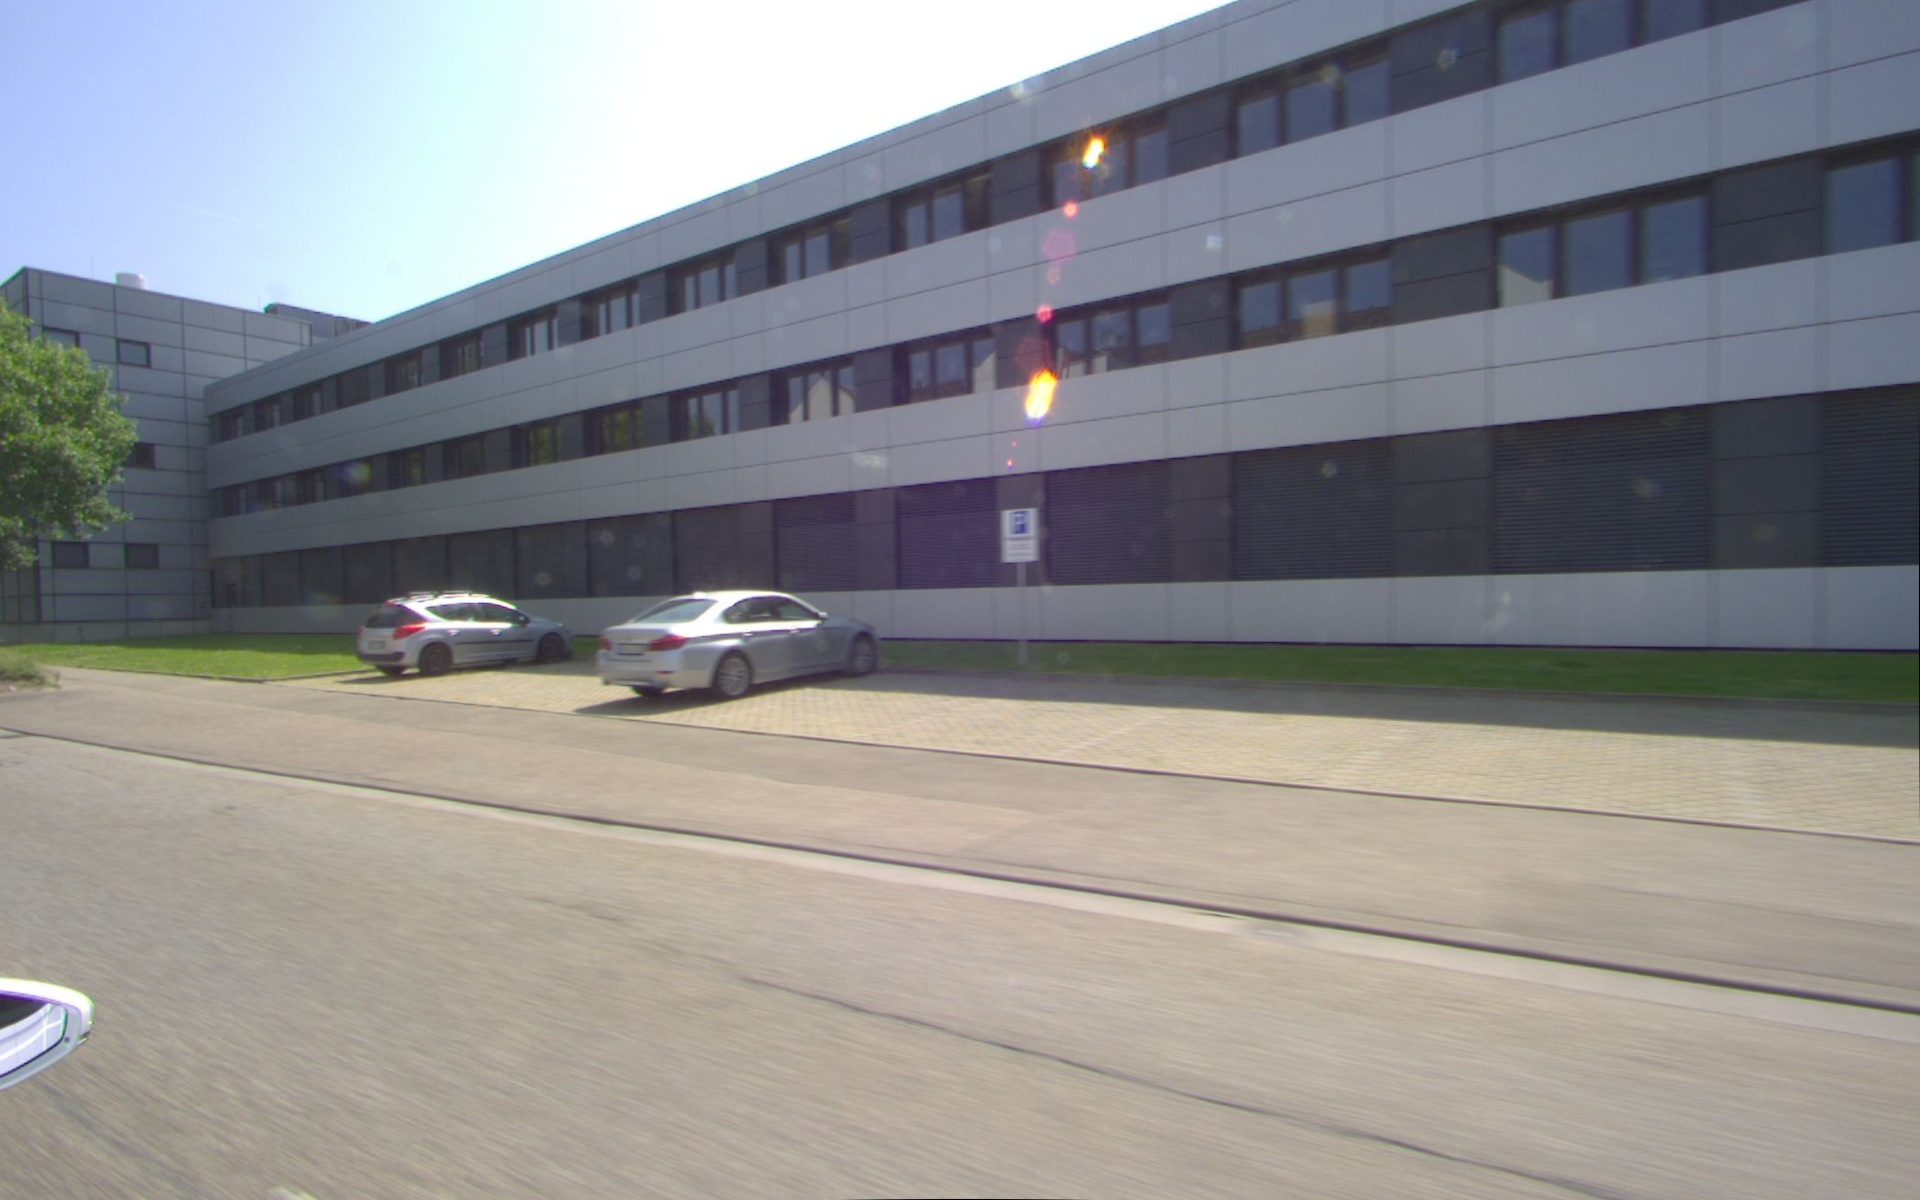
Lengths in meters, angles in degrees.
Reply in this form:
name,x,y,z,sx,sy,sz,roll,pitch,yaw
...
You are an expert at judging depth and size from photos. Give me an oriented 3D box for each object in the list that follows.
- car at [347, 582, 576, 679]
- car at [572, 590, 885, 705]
name,x,y,z,sx,sy,sz,roll,pitch,yaw
car,-10.047,0.542,20.467,1.707,1.614,3.802,0,3,32
car,-3.280,0.590,15.192,1.971,1.409,4.603,0,1,32
